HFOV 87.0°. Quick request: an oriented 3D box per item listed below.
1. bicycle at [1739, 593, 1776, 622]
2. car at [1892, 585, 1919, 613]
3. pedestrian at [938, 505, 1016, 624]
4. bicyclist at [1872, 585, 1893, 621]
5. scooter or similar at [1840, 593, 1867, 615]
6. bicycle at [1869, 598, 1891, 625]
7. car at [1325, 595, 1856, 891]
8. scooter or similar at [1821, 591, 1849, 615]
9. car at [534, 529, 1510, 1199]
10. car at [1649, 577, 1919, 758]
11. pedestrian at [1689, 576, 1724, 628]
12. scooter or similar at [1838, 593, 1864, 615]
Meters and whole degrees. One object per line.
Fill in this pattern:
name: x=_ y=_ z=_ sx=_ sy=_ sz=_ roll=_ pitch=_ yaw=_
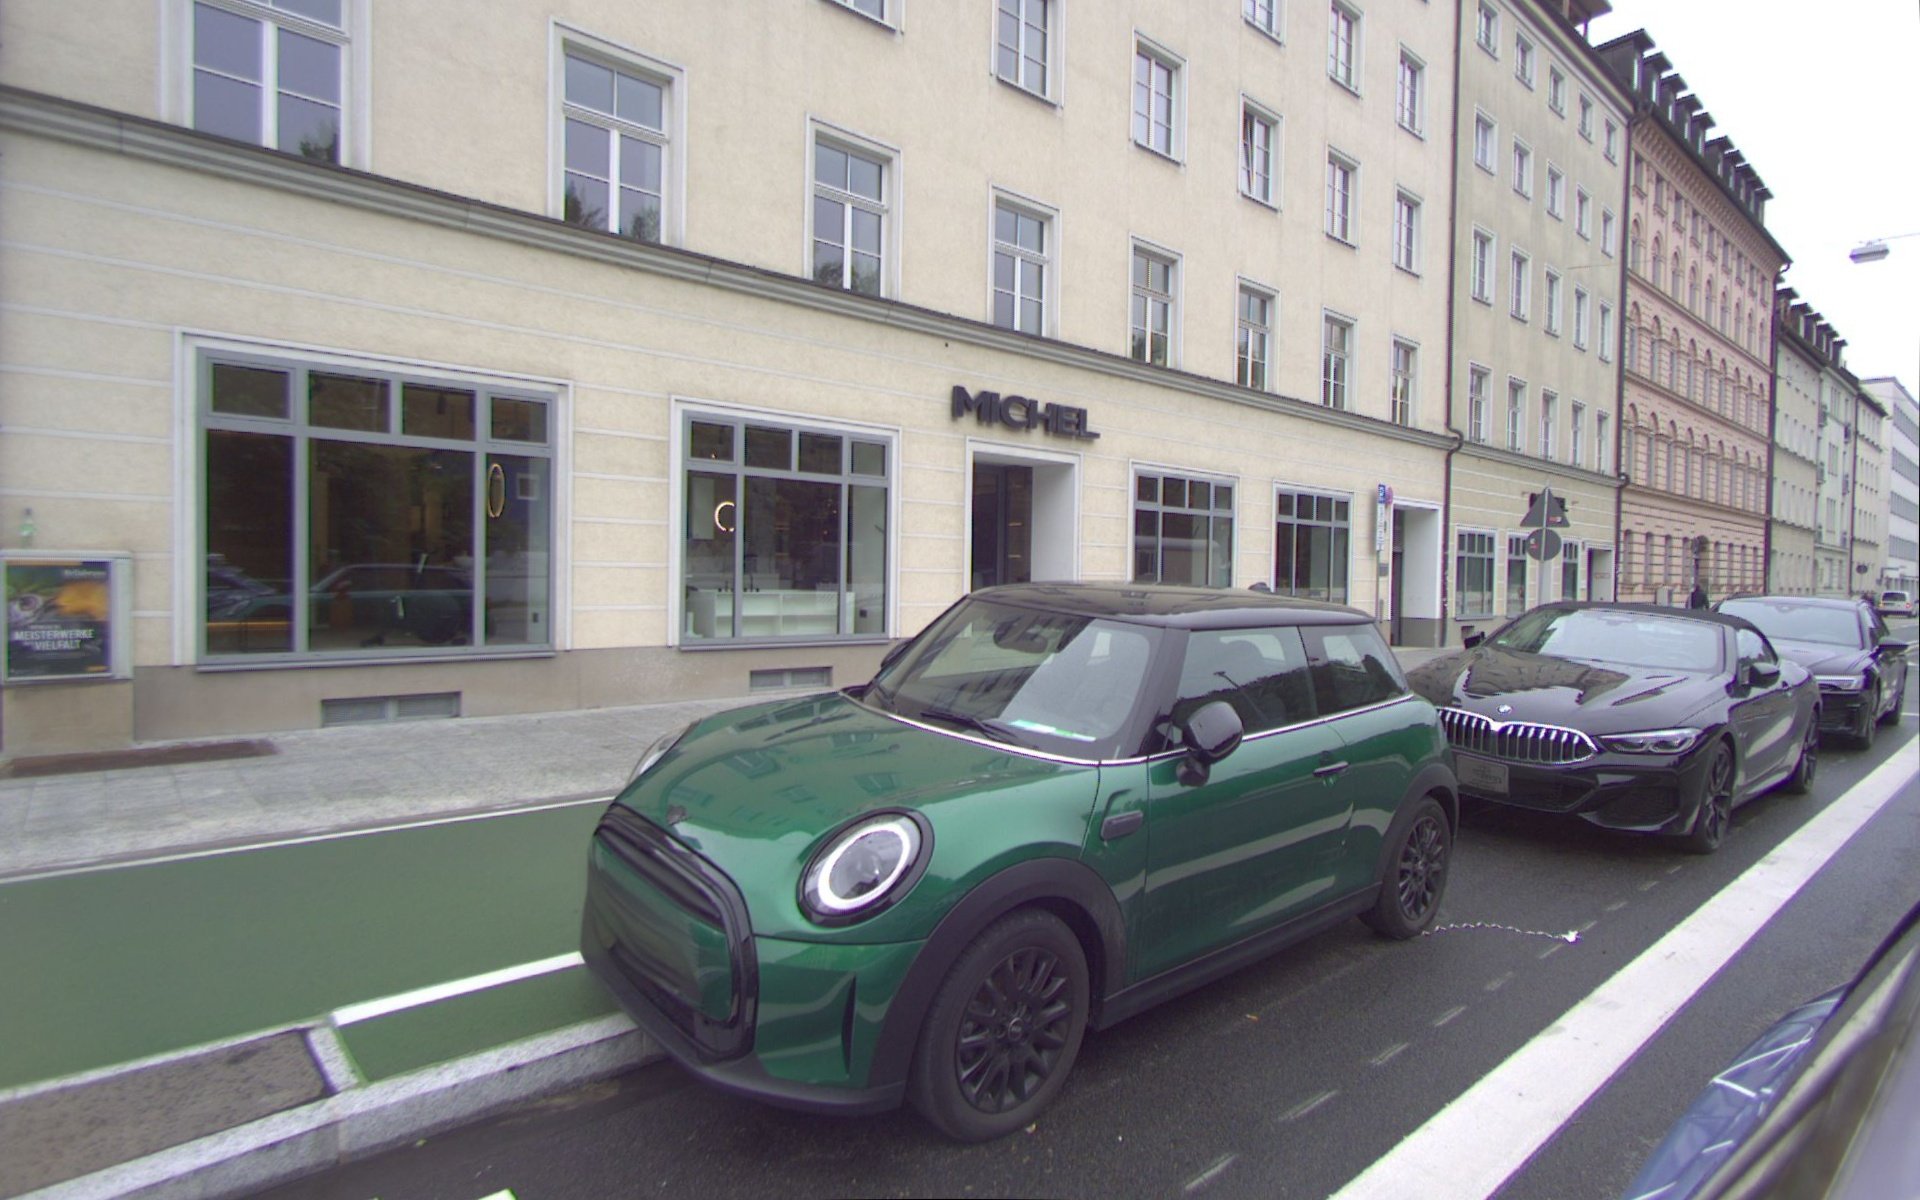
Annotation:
bicycle: x=33.836 y=0.301 z=42.940 sx=1.690 sy=1.191 sz=0.558 roll=0 pitch=1 yaw=-27
car: x=64.910 y=-0.070 z=68.903 sx=3.931 sy=1.855 sz=1.764 roll=0 pitch=1 yaw=-42
pedestrian: x=0.249 y=-0.528 z=15.145 sx=0.767 sy=1.710 sz=0.861 roll=0 pitch=2 yaw=-39
bicyclist: x=38.843 y=0.141 z=42.623 sx=0.630 sy=1.486 sz=0.643 roll=2 pitch=1 yaw=42
scooter or similar: x=51.349 y=0.226 z=58.162 sx=1.063 sy=1.207 sz=0.451 roll=2 pitch=1 yaw=20
bicycle: x=38.774 y=0.473 z=42.663 sx=0.630 sy=1.050 sz=1.987 roll=2 pitch=2 yaw=42
car: x=4.632 y=0.681 z=7.105 sx=4.636 sy=1.425 sz=1.829 roll=0 pitch=0 yaw=-40
scooter or similar: x=47.706 y=0.173 z=55.170 sx=1.055 sy=1.261 sz=0.554 roll=1 pitch=1 yaw=-6
car: x=0.517 y=0.607 z=4.015 sx=3.761 sy=1.540 sz=1.678 roll=0 pitch=0 yaw=-40
car: x=9.410 y=0.591 z=11.286 sx=4.386 sy=1.498 sz=1.812 roll=0 pitch=5 yaw=-43
pedestrian: x=26.214 y=0.054 z=35.545 sx=0.819 sy=1.767 sz=0.795 roll=0 pitch=1 yaw=-40
scooter or similar: x=52.156 y=0.228 z=59.237 sx=1.059 sy=1.207 sz=0.436 roll=1 pitch=1 yaw=10
